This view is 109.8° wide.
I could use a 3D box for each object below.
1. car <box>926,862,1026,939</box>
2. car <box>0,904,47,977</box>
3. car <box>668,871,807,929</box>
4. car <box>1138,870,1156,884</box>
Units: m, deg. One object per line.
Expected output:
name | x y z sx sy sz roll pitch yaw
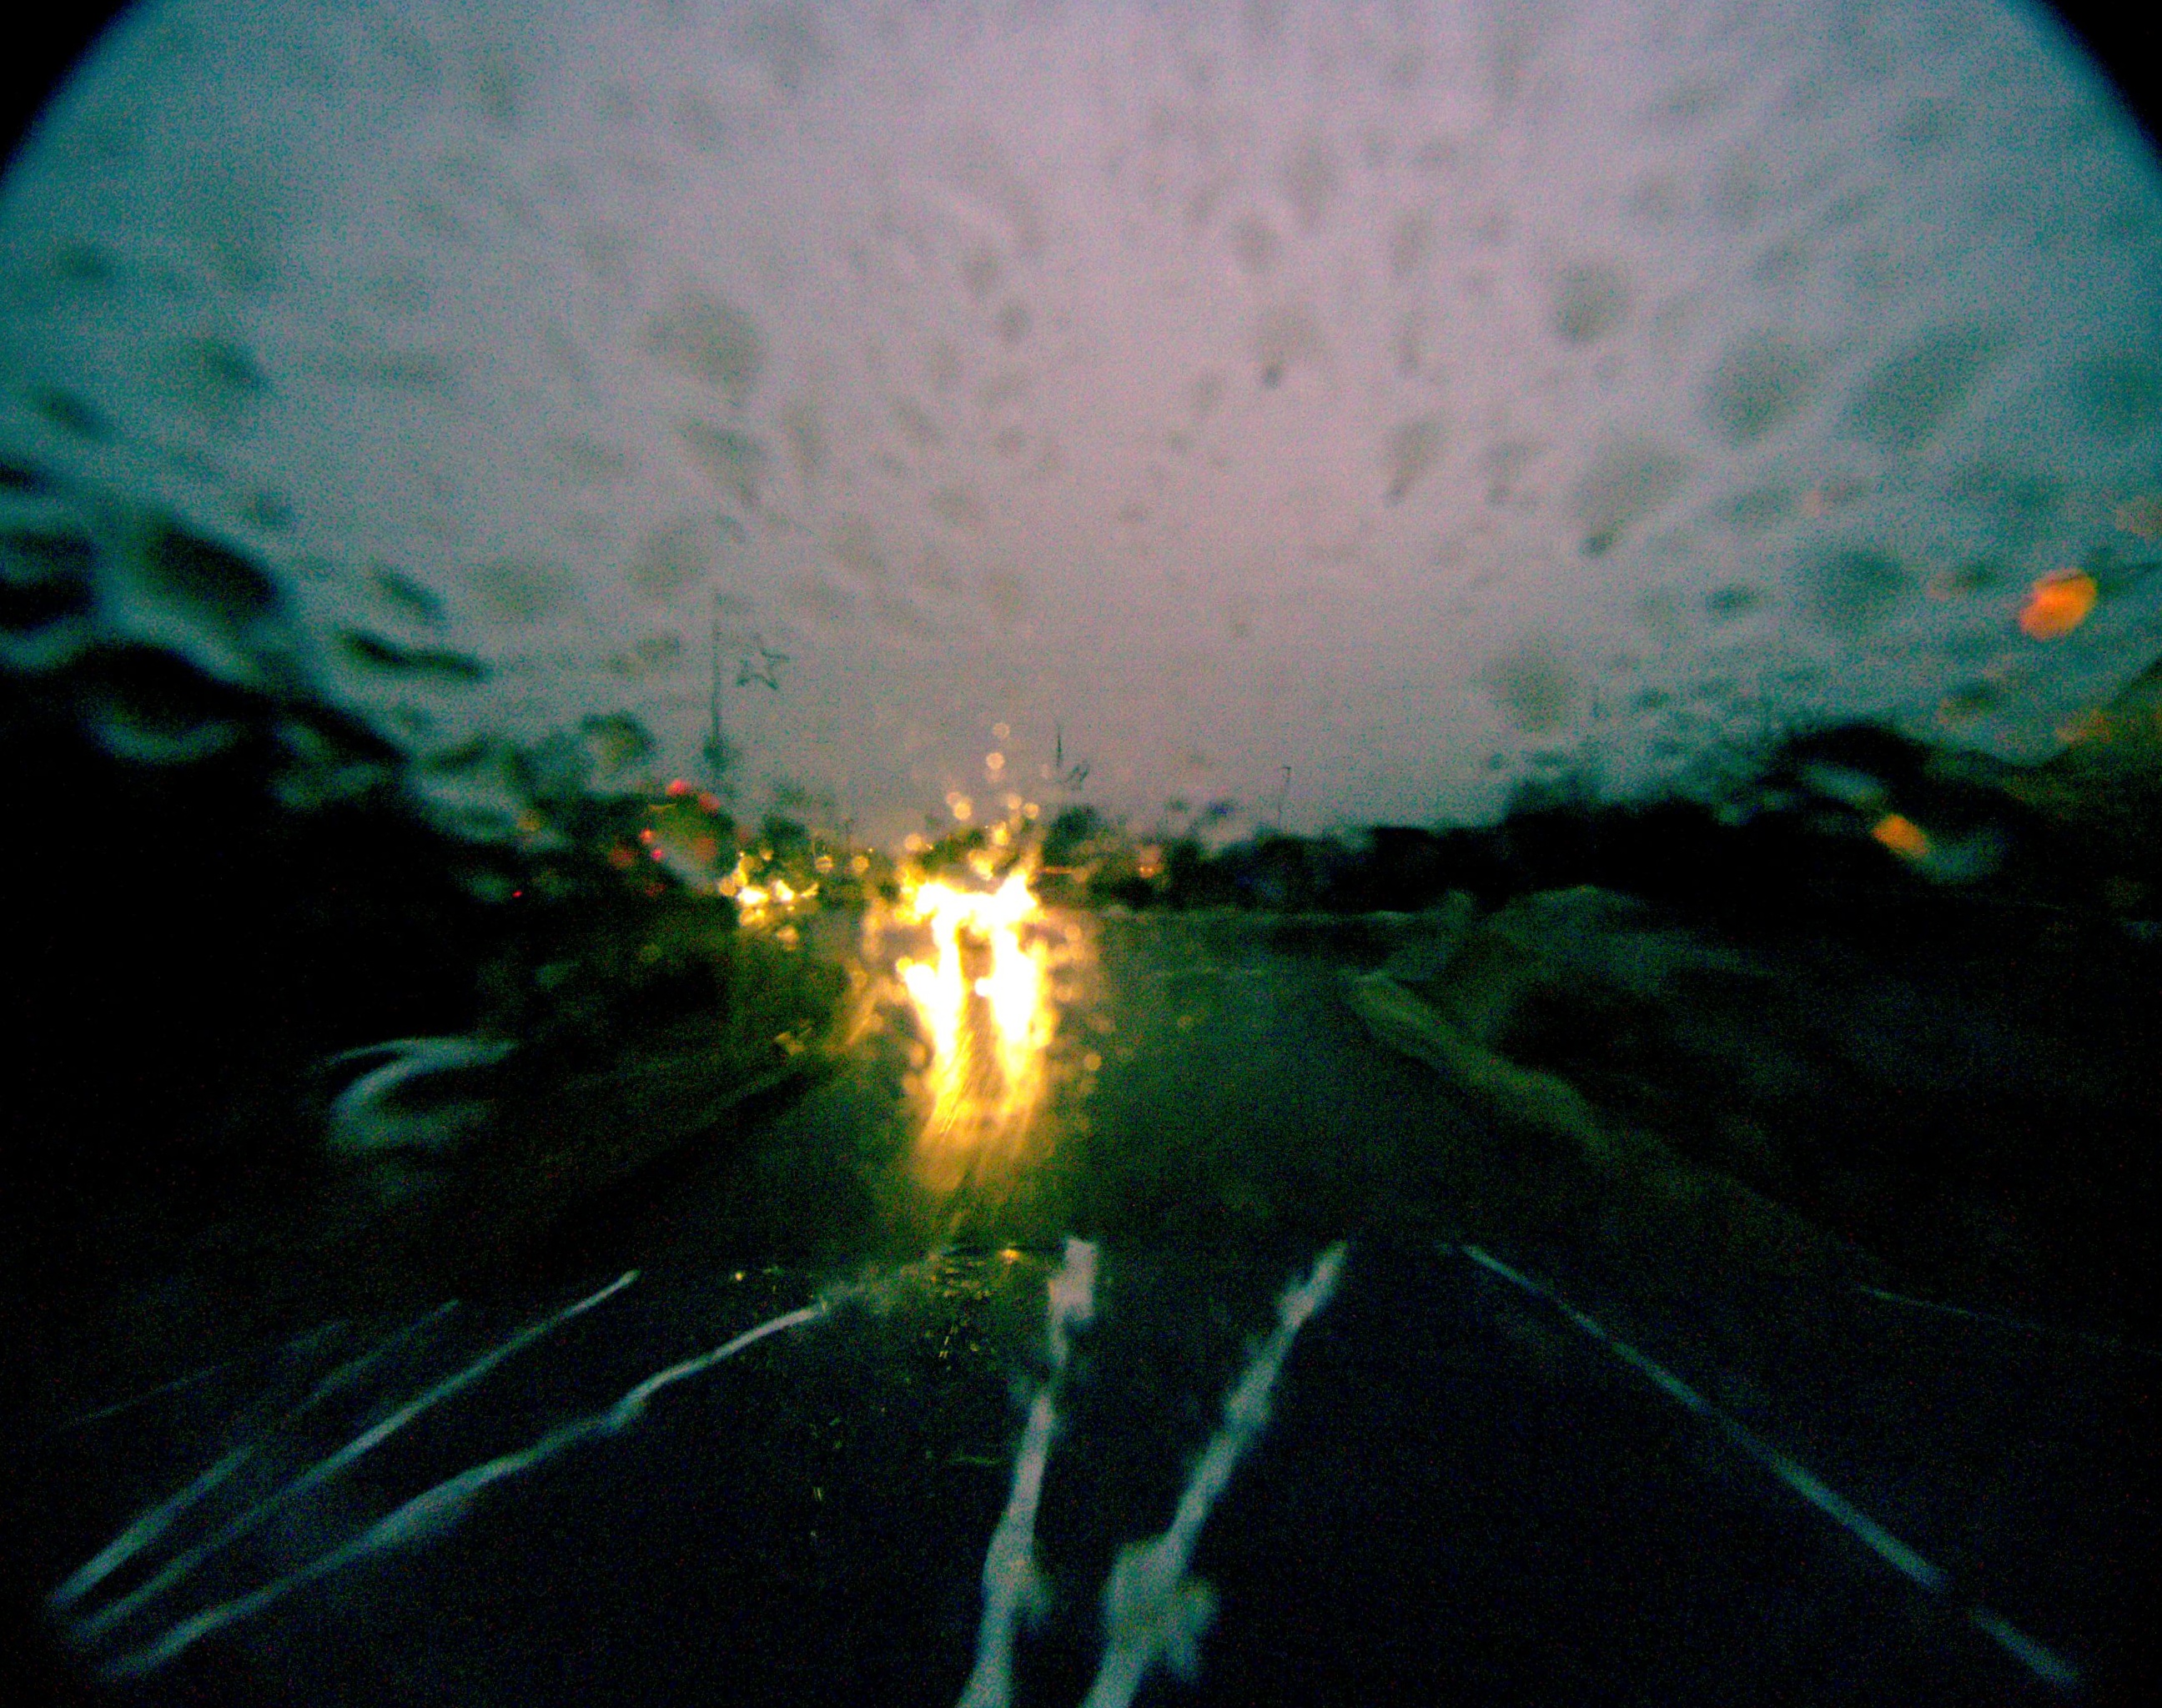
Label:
car | -2.385 1.018 18.278 1.810 1.452 4.245 -3 1 -1
car | -29.152 2.339 19.051 1.941 1.907 5.236 -3 0 -32
car | -10.124 1.355 22.378 3.702 1.483 1.665 -4 0 26
car | 12.160 4.201 140.060 2.281 2.425 5.236 0 0 -8
